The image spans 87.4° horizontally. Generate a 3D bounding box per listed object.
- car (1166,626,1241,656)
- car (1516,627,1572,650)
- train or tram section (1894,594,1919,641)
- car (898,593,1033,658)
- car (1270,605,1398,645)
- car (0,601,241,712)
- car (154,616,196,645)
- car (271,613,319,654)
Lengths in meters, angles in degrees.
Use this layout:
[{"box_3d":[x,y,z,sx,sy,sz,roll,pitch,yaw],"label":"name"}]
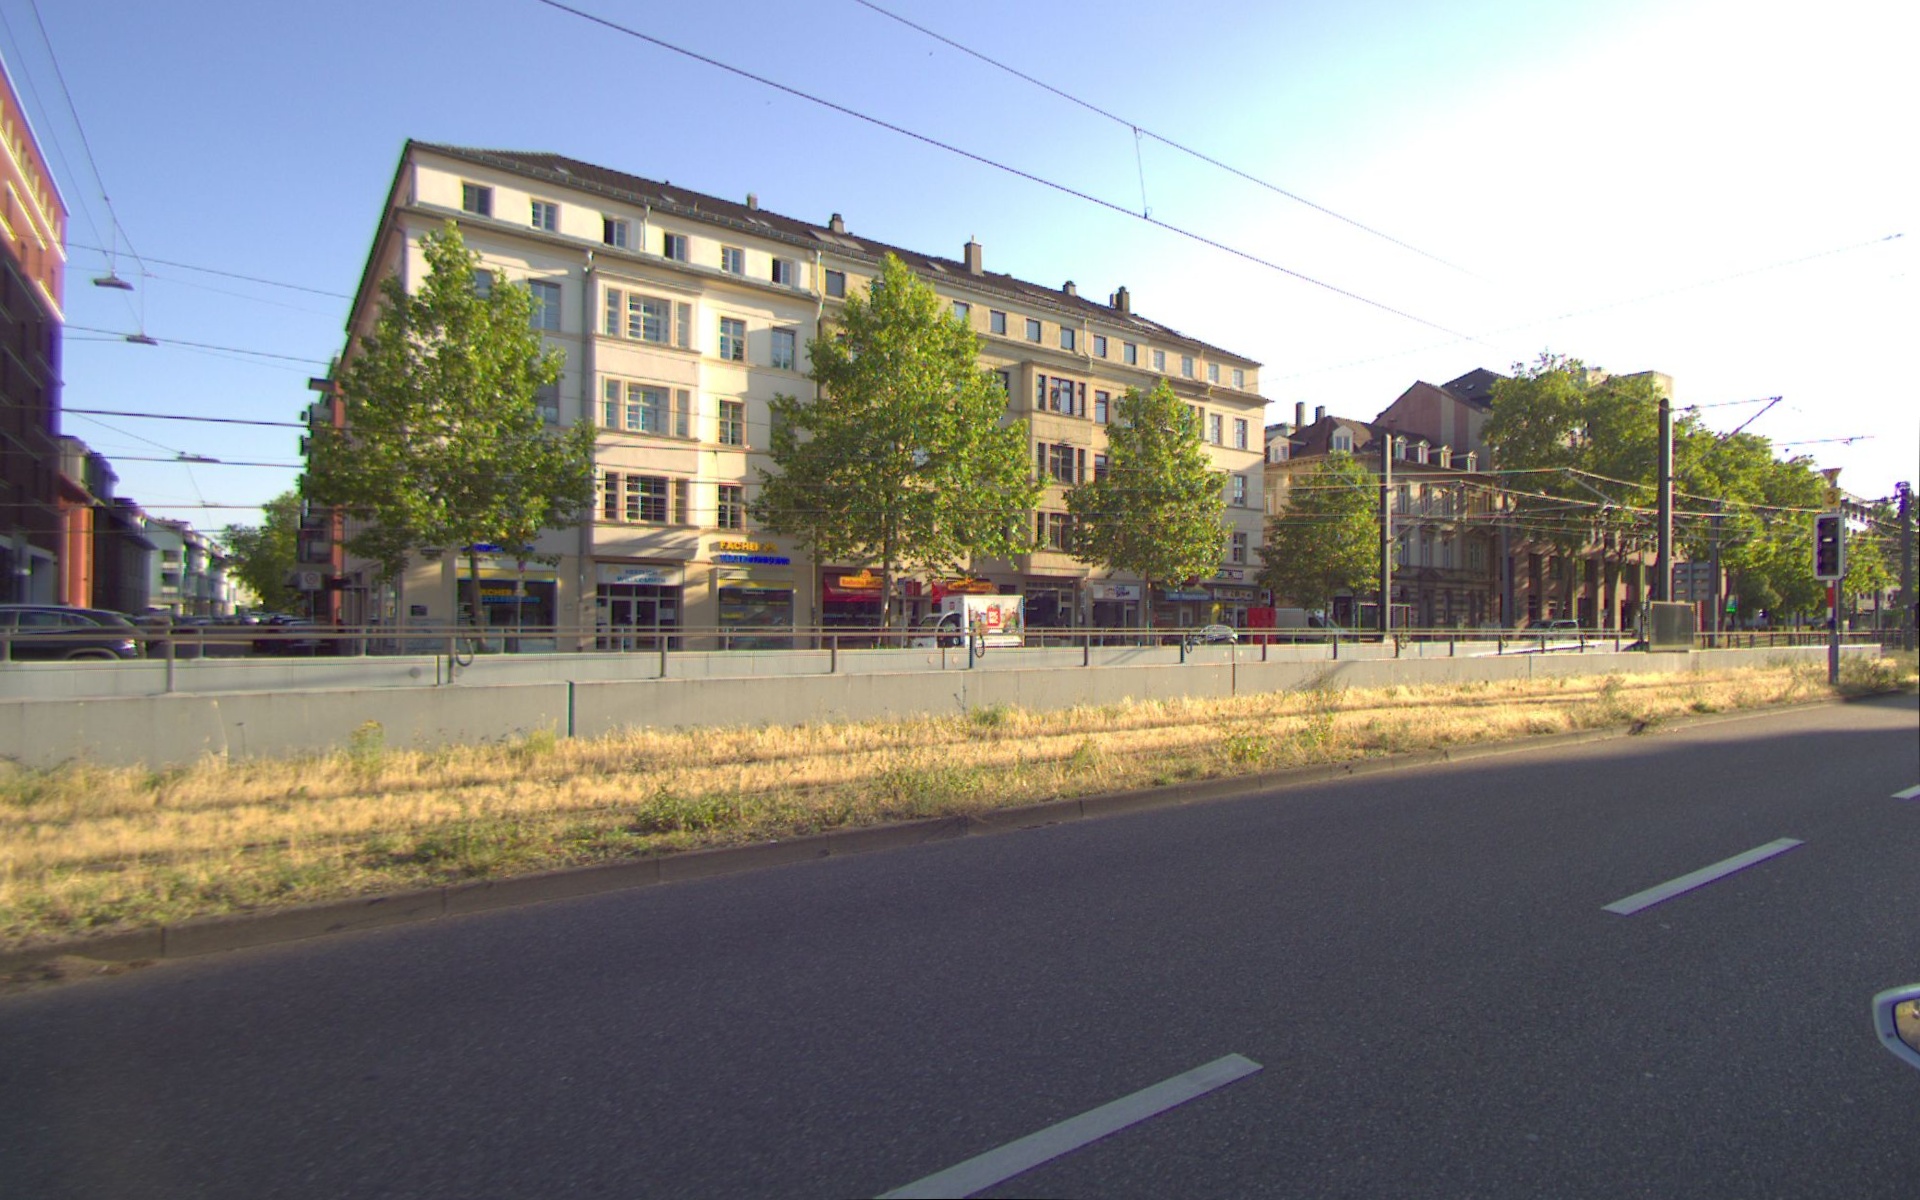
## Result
[{"box_3d":[11.883,2.022,48.987,3.673,1.350,1.444,2,0,-35],"label":"car"},{"box_3d":[41.410,2.704,71.203,4.689,1.606,1.748,2,-2,-36],"label":"car"},{"box_3d":[81.251,1.546,82.837,17.312,3.606,3.090,1,-1,-37],"label":"train or tram section"},{"box_3d":[0.229,0.902,35.349,4.529,2.162,1.939,1,-1,-36],"label":"car"},{"box_3d":[23.031,1.529,62.193,2.451,2.296,7.206,1,-2,-40],"label":"car"},{"box_3d":[-15.916,0.965,17.920,4.927,1.843,1.981,1,-1,-34],"label":"car"},{"box_3d":[-42.348,1.611,54.263,1.517,1.447,3.838,1,-1,-34],"label":"car"},{"box_3d":[-26.794,1.323,40.528,1.533,1.568,3.503,1,-1,-33],"label":"car"}]
